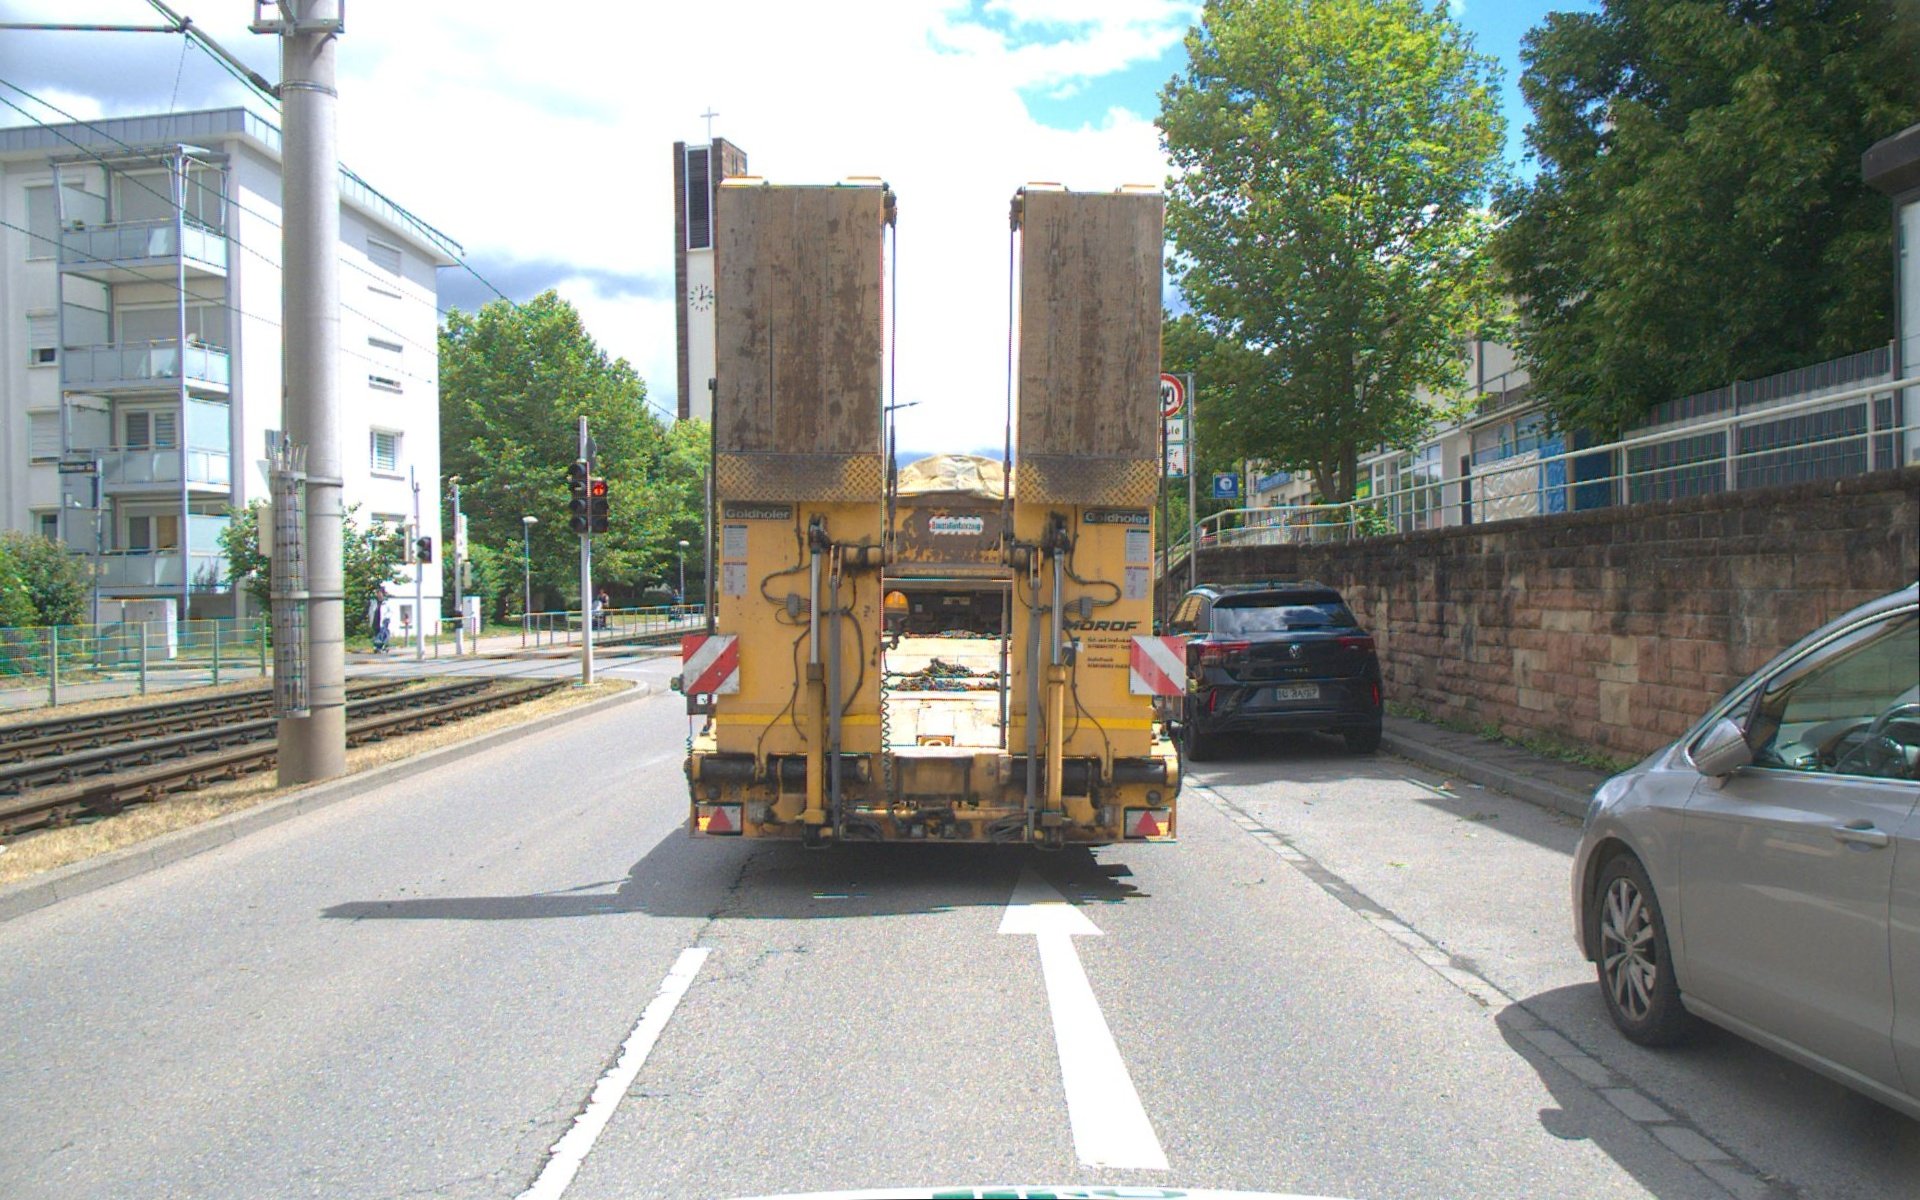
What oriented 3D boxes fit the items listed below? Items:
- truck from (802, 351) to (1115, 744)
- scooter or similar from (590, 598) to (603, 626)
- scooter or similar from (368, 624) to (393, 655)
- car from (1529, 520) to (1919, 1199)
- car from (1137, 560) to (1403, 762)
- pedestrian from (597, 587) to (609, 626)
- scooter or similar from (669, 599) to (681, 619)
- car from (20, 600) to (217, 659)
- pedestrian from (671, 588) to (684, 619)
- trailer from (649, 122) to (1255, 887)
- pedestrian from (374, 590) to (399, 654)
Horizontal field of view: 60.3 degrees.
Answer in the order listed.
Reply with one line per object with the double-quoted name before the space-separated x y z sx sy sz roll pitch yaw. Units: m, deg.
"truck" -0.023 -0.510 17.903 2.882 3.635 4.876 -1 0 0
"scooter or similar" -14.511 0.476 66.056 0.331 1.076 0.688 -2 -1 4
"scooter or similar" -14.528 0.980 41.478 0.428 0.760 0.475 -1 0 4
"car" 3.142 0.603 4.250 1.754 1.646 4.247 -2 0 -2
"car" 2.888 0.517 16.252 1.813 1.668 4.000 -2 0 0
"pedestrian" -14.401 0.276 66.707 0.341 1.564 0.557 -1 0 3
"scooter or similar" -14.286 0.437 82.877 0.495 0.988 0.645 1 0 -2
"car" -20.619 0.709 40.615 3.902 1.369 1.903 -1 0 7
"pedestrian" -14.273 0.155 83.525 0.552 1.540 0.645 1 0 -2
"trailer" -0.026 -0.490 12.343 2.885 3.664 8.683 -1 0 0
"pedestrian" -14.550 0.551 41.957 0.428 1.608 0.475 -1 0 4
